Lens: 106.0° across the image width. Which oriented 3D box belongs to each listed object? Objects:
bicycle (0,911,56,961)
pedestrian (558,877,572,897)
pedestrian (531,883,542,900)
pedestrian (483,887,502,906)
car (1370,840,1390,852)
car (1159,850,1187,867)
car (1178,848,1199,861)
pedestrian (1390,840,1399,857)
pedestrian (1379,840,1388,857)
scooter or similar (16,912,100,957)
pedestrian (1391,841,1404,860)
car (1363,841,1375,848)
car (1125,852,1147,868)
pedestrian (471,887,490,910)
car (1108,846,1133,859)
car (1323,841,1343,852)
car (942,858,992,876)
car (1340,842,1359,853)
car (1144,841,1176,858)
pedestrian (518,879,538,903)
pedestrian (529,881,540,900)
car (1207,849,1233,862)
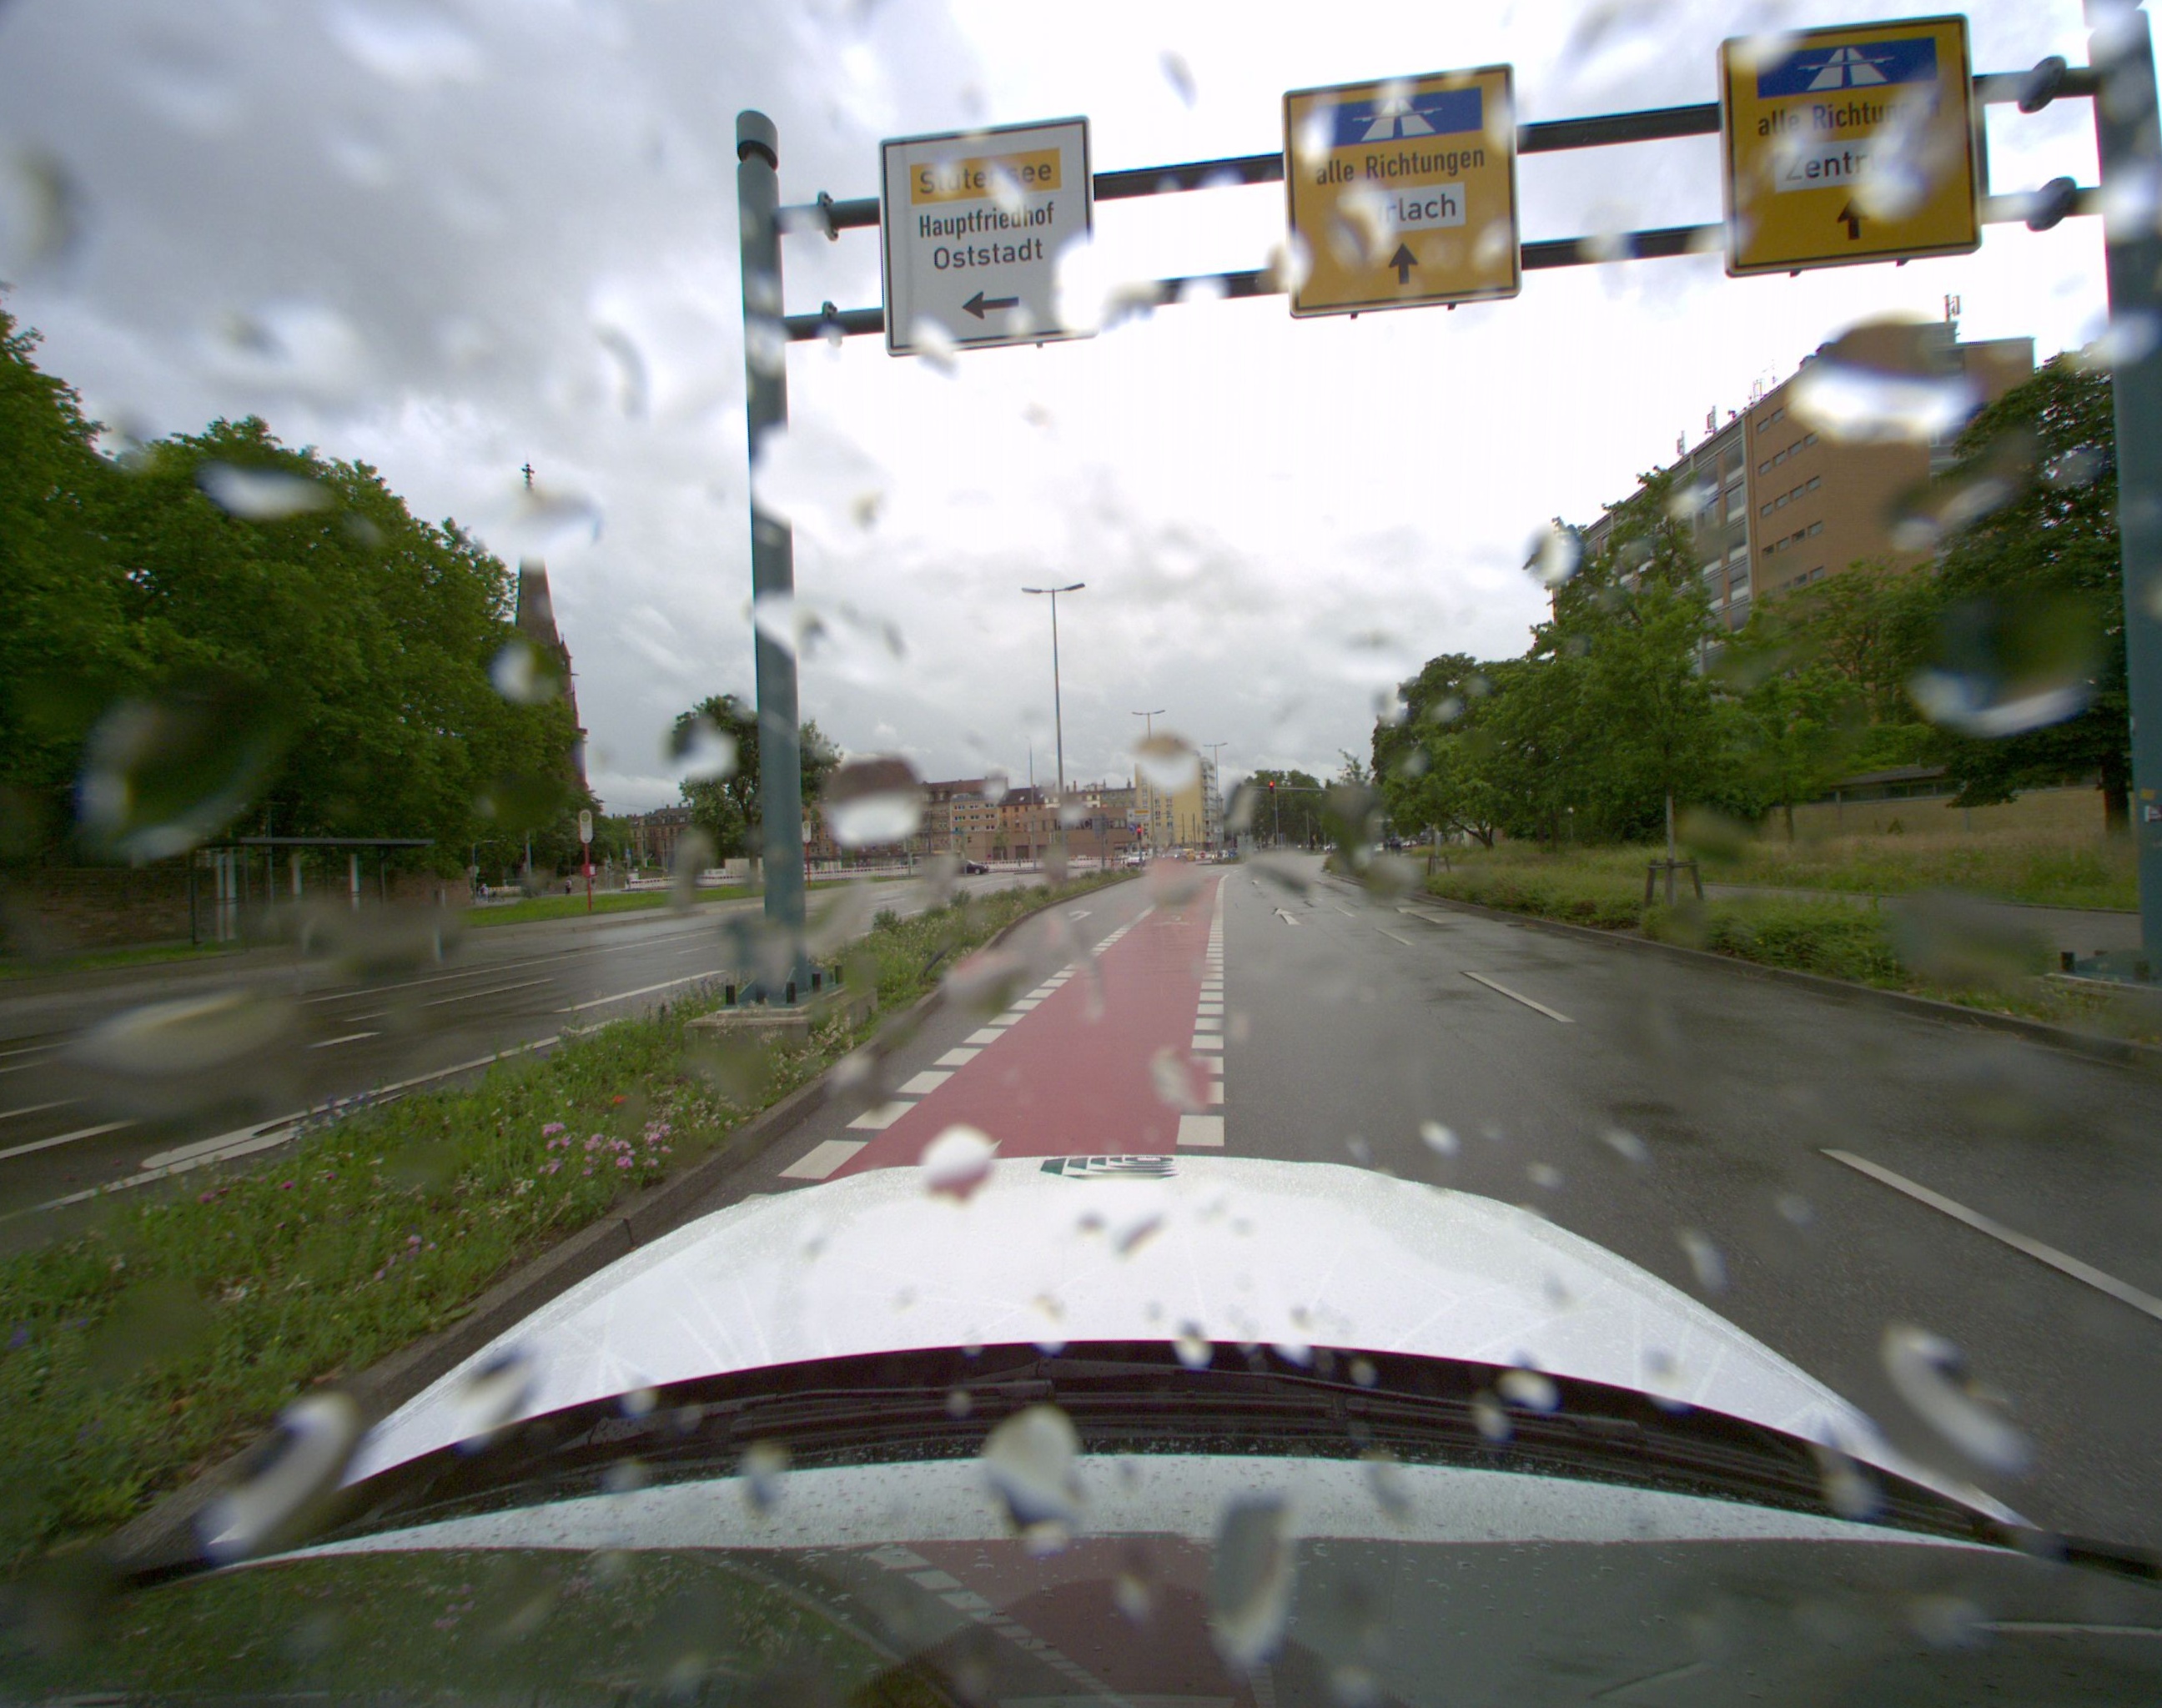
[{"bbox_3d":[-26.887,2.072,20.186,0.572,1.136,1.986,-3,0,-7],"label":"bicycle"},{"bbox_3d":[-46.648,3.006,73.618,0.719,1.777,0.777,-2,0,12],"label":"pedestrian"},{"bbox_3d":[-51.632,3.543,77.237,0.679,1.500,0.765,-2,0,-42],"label":"pedestrian"},{"bbox_3d":[-49.163,3.539,68.022,0.931,1.539,1.055,-2,0,-15],"label":"pedestrian"},{"bbox_3d":[44.486,-1.168,120.996,1.772,1.643,4.186,-2,0,34],"label":"car"},{"bbox_3d":[10.411,0.467,91.860,1.977,1.636,4.625,-4,0,19],"label":"car"},{"bbox_3d":[14.818,0.031,111.849,1.690,1.706,4.176,-2,0,24],"label":"car"},{"bbox_3d":[29.612,-0.561,77.009,0.697,1.588,0.941,-2,0,22],"label":"pedestrian"},{"bbox_3d":[28.789,-0.523,77.543,0.747,1.588,0.941,-2,0,22],"label":"pedestrian"},{"bbox_3d":[-27.116,2.120,21.613,0.571,1.046,1.359,-2,0,-7],"label":"scooter or similar"},{"bbox_3d":[27.737,-0.306,71.308,1.013,1.588,0.941,-2,0,22],"label":"pedestrian"},{"bbox_3d":[77.717,-2.562,219.581,1.772,1.643,4.186,-2,0,36],"label":"car"},{"bbox_3d":[5.456,0.546,80.771,1.668,1.404,4.170,-3,0,10],"label":"car"},{"bbox_3d":[-53.098,3.922,71.964,0.850,2.013,0.959,-2,0,12],"label":"pedestrian"},{"bbox_3d":[9.077,-0.357,188.420,5.311,2.887,2.348,-3,0,14],"label":"car"},{"bbox_3d":[47.091,-1.434,152.126,1.808,1.682,5.199,-5,-1,39],"label":"car"},{"bbox_3d":[-10.389,1.165,74.316,4.171,1.402,1.620,-2,0,5],"label":"car"},{"bbox_3d":[41.236,-1.031,125.021,1.772,1.643,4.186,-2,0,34],"label":"car"},{"bbox_3d":[18.039,-1.047,185.894,6.692,3.380,2.820,-3,0,14],"label":"car"},{"bbox_3d":[-48.271,3.246,71.123,0.996,2.013,1.302,-2,0,-14],"label":"pedestrian"},{"bbox_3d":[-53.559,3.568,79.768,0.601,1.890,0.603,-2,0,6],"label":"pedestrian"},{"bbox_3d":[17.193,0.174,100.436,1.663,1.501,3.893,-3,0,32],"label":"car"}]
